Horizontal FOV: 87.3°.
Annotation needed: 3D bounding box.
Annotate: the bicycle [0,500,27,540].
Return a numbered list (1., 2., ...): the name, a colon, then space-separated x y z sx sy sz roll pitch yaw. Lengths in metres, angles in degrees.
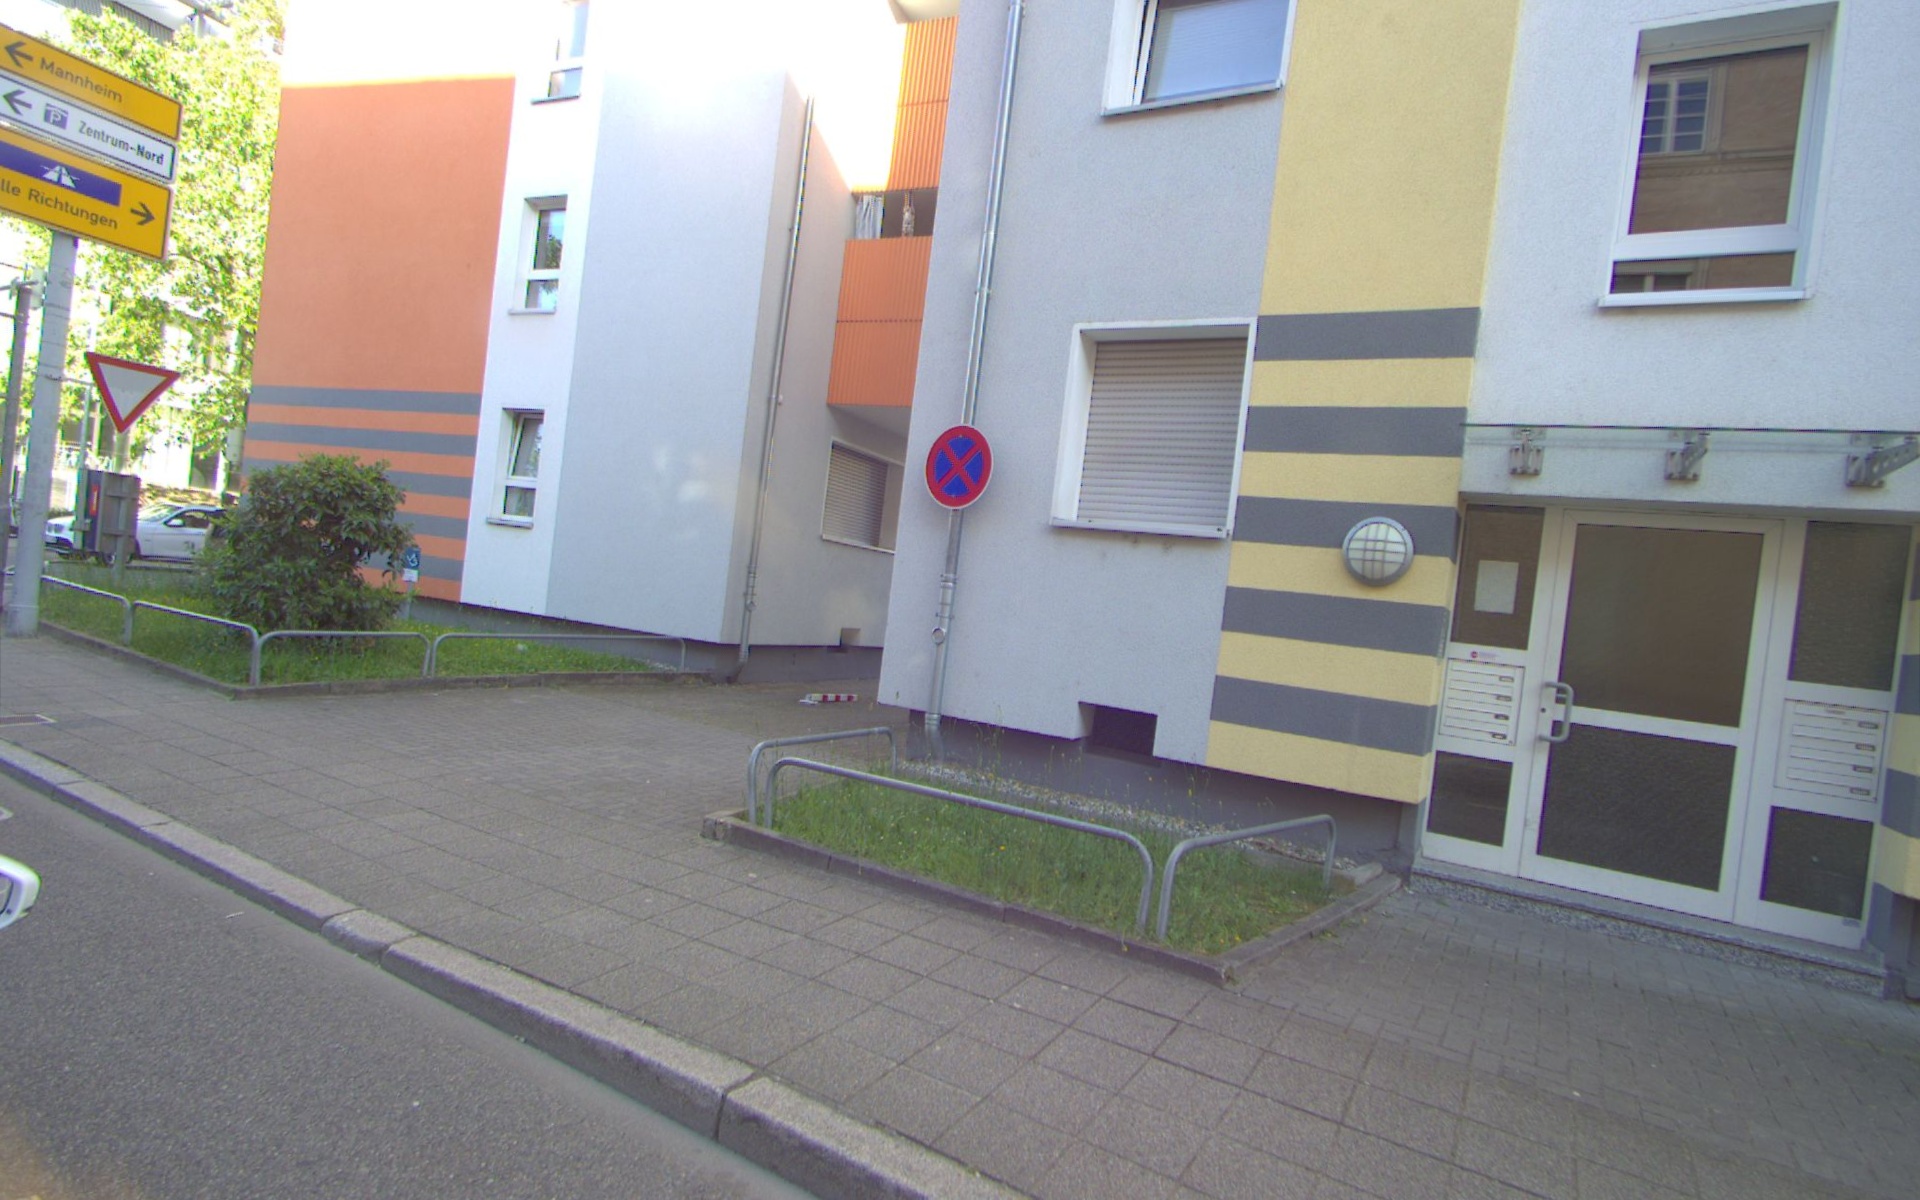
1. bicycle: -26.402 -2.249 27.384 1.409 1.021 0.379 7 1 -11

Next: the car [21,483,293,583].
1. car: -17.752 -1.408 22.510 1.687 1.532 4.369 7 -1 24

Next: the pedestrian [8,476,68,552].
1. pedestrian: -24.397 -2.251 26.630 0.909 1.837 0.755 8 -1 -36

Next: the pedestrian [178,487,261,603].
1. pedestrian: -12.550 -0.905 17.064 0.690 1.831 0.719 7 -1 -9
